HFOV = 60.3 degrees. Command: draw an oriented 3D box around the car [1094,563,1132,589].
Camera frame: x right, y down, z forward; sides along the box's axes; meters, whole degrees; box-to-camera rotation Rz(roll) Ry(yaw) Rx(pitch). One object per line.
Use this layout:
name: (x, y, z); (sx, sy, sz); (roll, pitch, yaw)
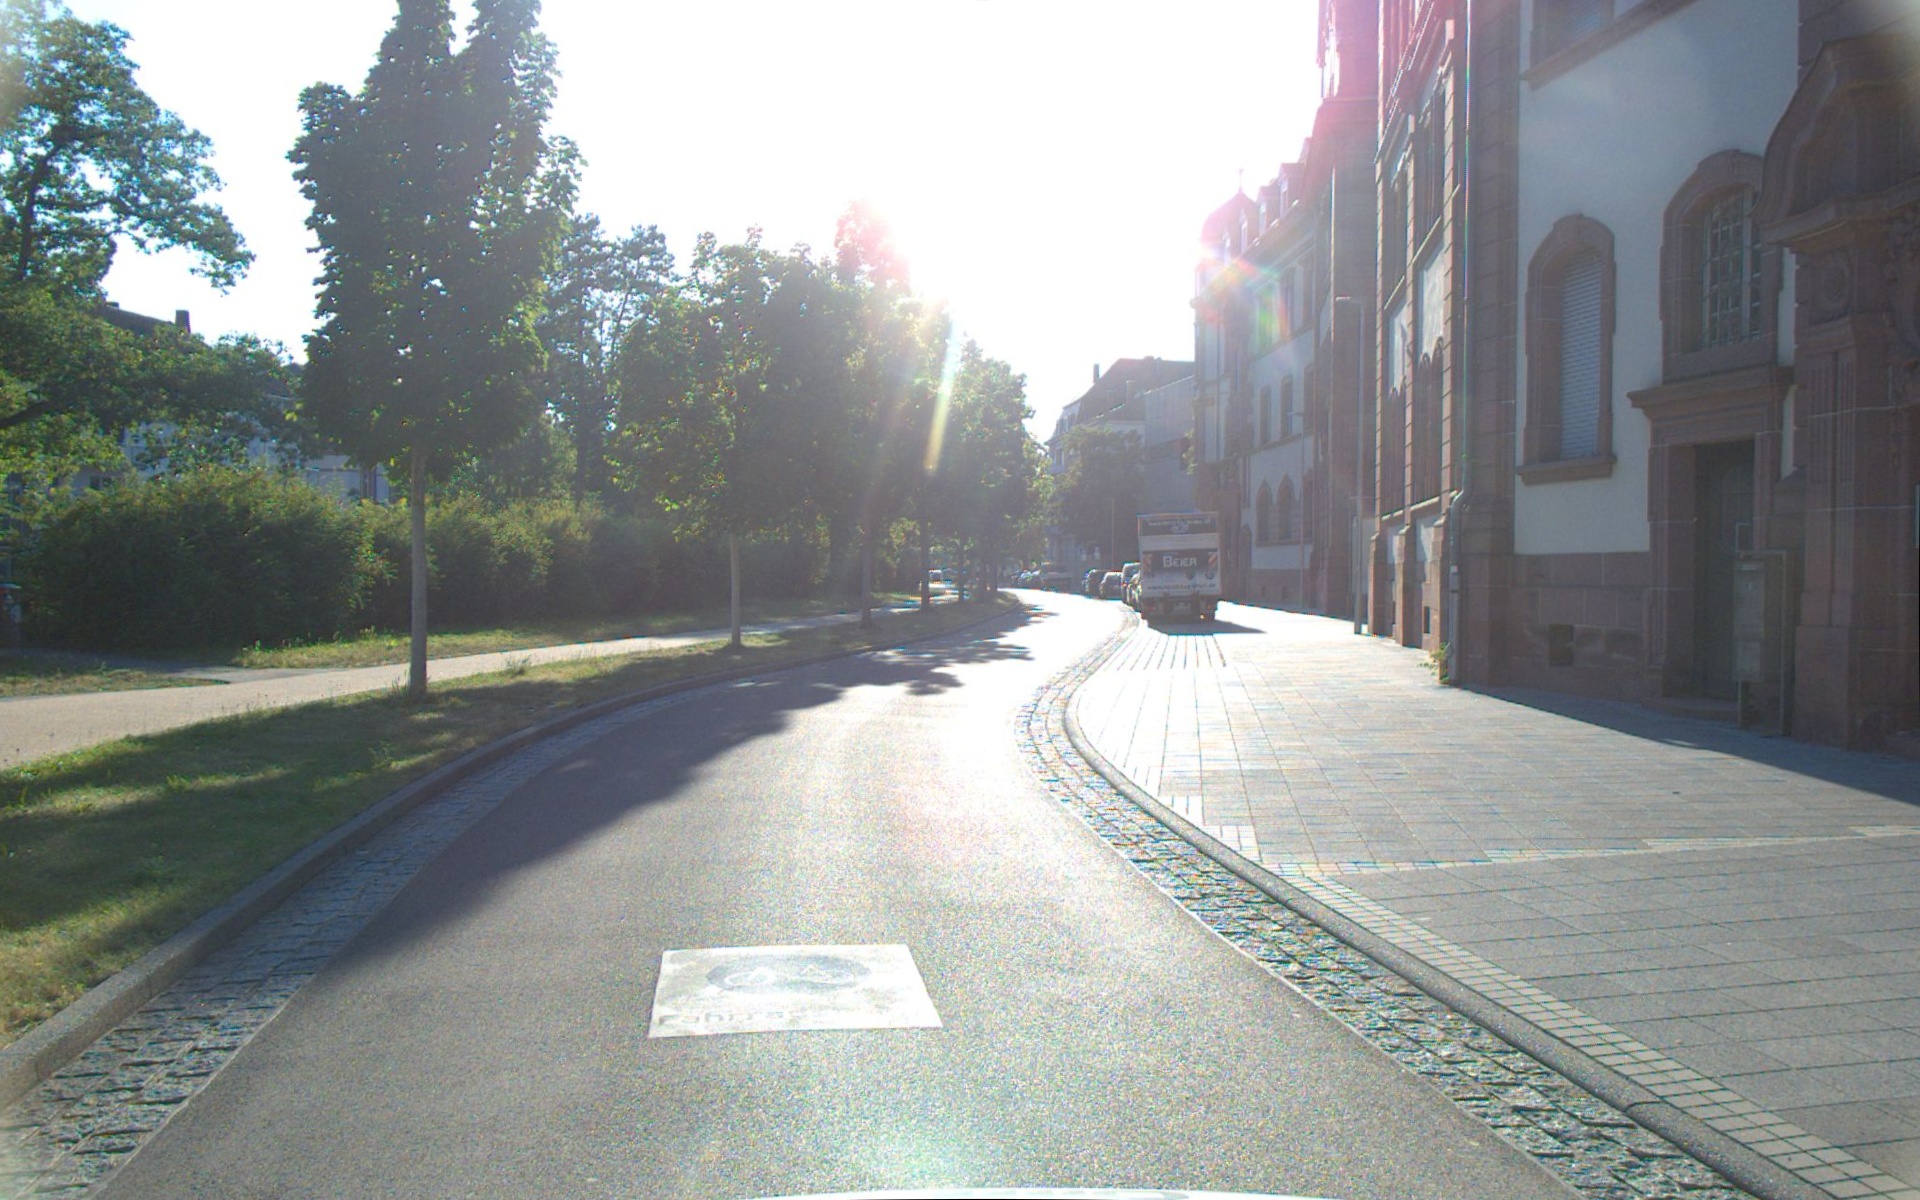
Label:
car: (9.009, -1.443, 97.889); (1.712, 1.492, 4.476); (1, 1, -2)

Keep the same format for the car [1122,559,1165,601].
car: (9.503, -1.028, 85.867); (1.952, 2.000, 4.852); (-3, 0, 5)

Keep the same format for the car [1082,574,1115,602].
car: (9.027, -0.789, 108.142); (1.689, 1.698, 4.113); (-1, 1, -2)

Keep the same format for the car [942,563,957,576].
car: (-1.458, -4.131, 226.278); (1.758, 1.754, 3.997); (1, 1, -4)

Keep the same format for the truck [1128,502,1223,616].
truck: (6.414, -1.202, 49.938); (2.568, 3.175, 6.092); (-1, 1, 5)

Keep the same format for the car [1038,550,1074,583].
car: (7.945, -2.794, 137.167); (2.168, 2.574, 6.143); (-2, 1, -4)

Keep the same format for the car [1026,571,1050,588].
car: (6.977, -1.846, 148.420); (1.658, 1.465, 3.547); (-1, 1, -6)

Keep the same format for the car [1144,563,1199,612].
car: (7.131, -0.450, 55.831); (1.731, 1.557, 4.576); (-2, 1, 7)
